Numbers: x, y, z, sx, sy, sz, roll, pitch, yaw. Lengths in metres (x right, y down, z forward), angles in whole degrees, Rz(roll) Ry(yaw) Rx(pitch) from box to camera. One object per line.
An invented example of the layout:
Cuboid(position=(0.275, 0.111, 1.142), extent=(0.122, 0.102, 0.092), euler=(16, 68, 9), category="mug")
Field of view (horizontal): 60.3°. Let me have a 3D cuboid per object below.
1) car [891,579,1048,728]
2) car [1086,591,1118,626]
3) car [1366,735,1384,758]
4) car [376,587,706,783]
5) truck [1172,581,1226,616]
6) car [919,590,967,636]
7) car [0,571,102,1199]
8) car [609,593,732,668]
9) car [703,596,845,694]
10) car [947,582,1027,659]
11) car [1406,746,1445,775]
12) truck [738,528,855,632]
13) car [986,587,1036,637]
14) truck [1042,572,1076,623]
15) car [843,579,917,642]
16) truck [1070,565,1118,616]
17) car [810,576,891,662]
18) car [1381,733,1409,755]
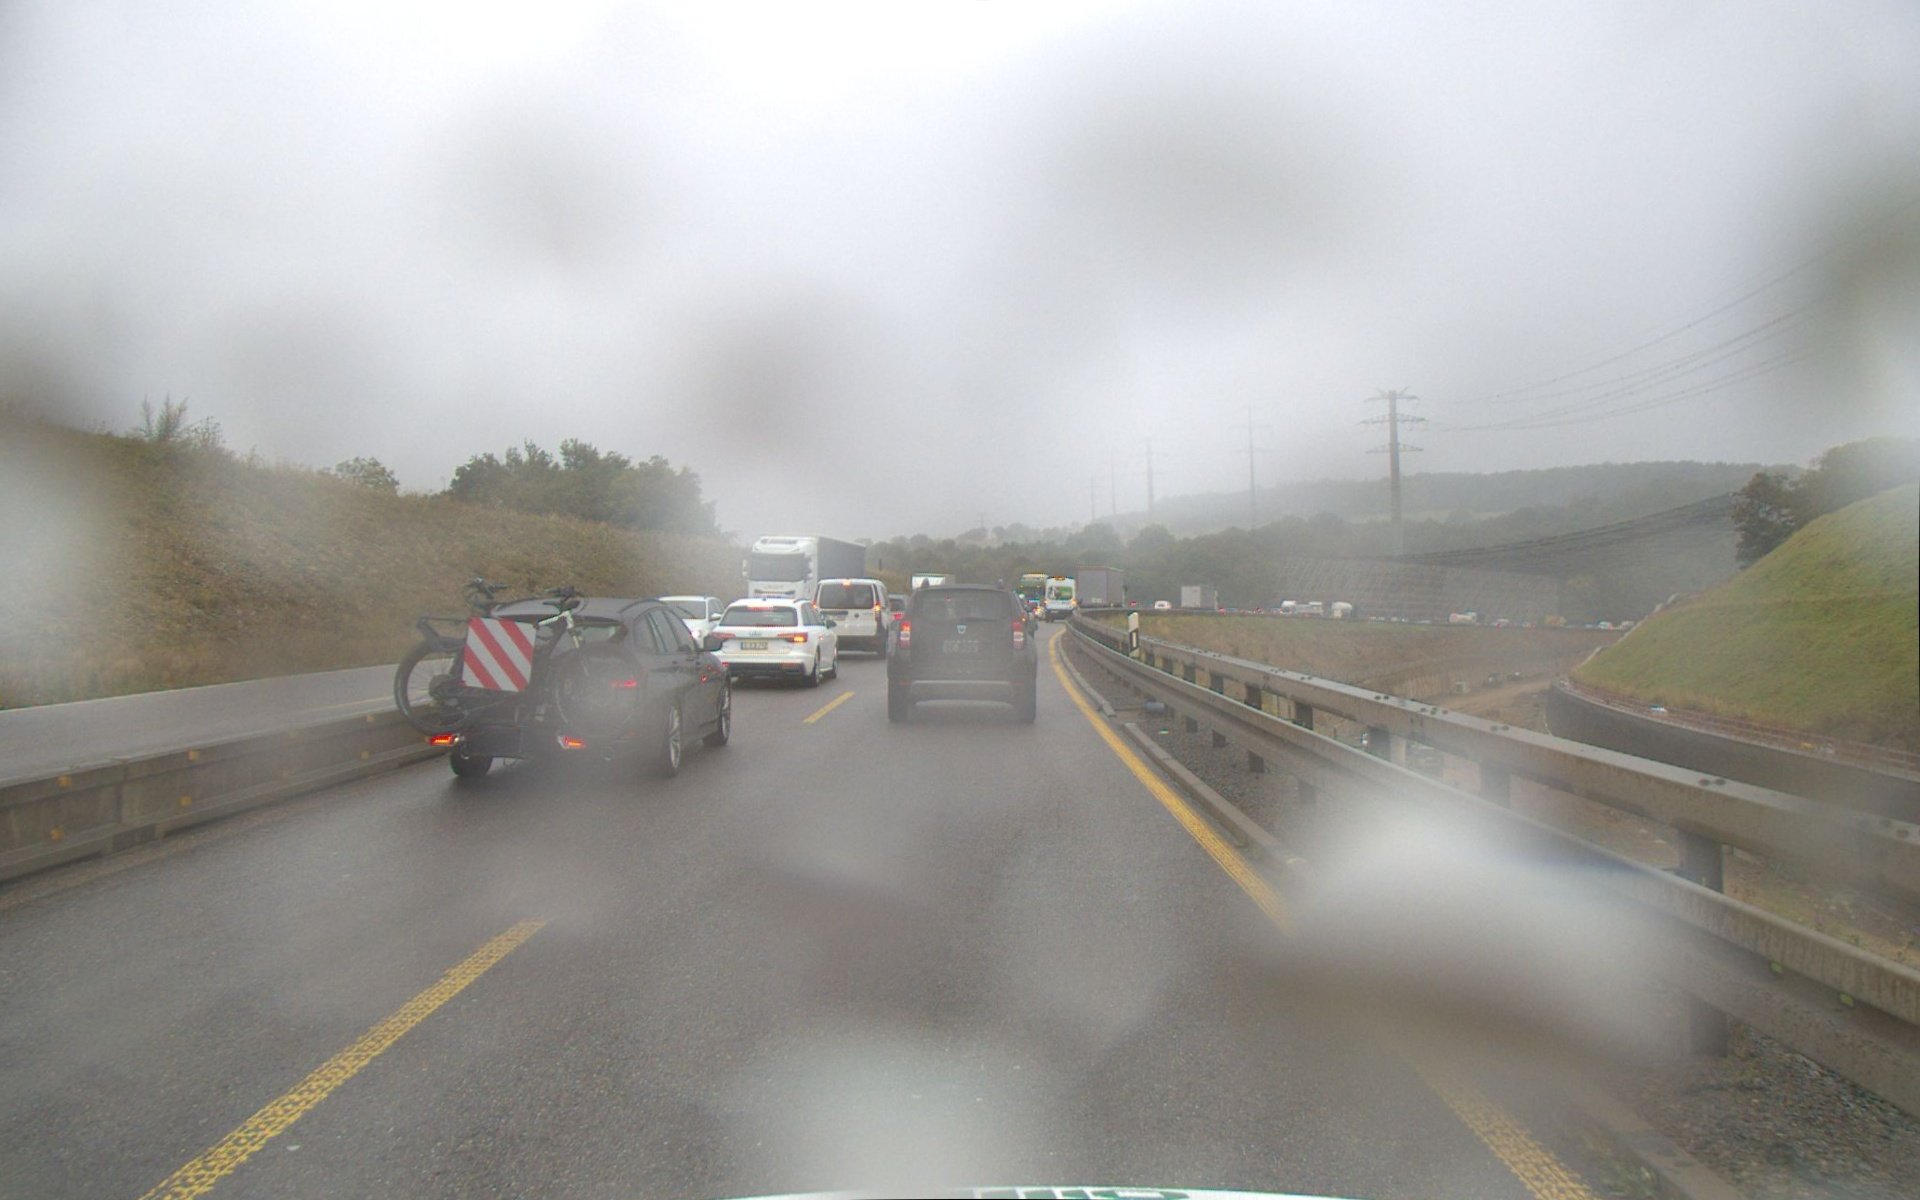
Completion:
Cuboid(position=(0.151, 0.597, 20.519), extent=(1.767, 1.674, 3.777), euler=(0, 0, 1), category="car")
Cuboid(position=(8.186, 0.459, 95.635), extent=(1.737, 1.949, 4.002), euler=(1, 0, 4), category="car")
Cuboid(position=(46.013, 16.244, 183.391), extent=(1.951, 2.049, 4.003), euler=(1, 0, 14), category="car")
Cuboid(position=(-3.527, 0.651, 14.641), extent=(1.790, 1.502, 3.778), euler=(0, 0, 3), category="car")
Cuboid(position=(31.401, -0.167, 216.271), extent=(4.618, 4.222, 15.691), euler=(1, 0, 17), category="truck")
Cuboid(position=(-0.652, 0.499, 64.956), extent=(1.829, 1.738, 4.091), euler=(0, -1, 0), category="car")
Cuboid(position=(-2.846, 0.731, 1.861), extent=(1.582, 1.532, 4.366), euler=(-1, 0, -2), category="car")
Cuboid(position=(-6.207, 0.612, 35.986), extent=(1.829, 1.486, 4.548), euler=(1, 0, 0), category="car")
Cuboid(position=(-3.042, 0.692, 27.923), extent=(1.829, 1.486, 4.548), euler=(1, 0, 0), category="car")
Cuboid(position=(0.634, 0.464, 40.279), extent=(1.829, 1.738, 4.000), euler=(1, 0, 0), category="car")
Cuboid(position=(40.510, 13.990, 144.057), extent=(2.316, 2.049, 4.001), euler=(1, 0, 1), category="car")
Cuboid(position=(-7.124, -0.846, 74.746), extent=(2.871, 4.169, 14.397), euler=(1, 0, 4), category="truck")
Cuboid(position=(1.808, 0.394, 58.067), extent=(1.498, 1.669, 4.015), euler=(1, 0, 5), category="car")
Cuboid(position=(6.486, -0.166, 108.289), extent=(2.104, 3.221, 6.462), euler=(1, 0, 4), category="truck")
Cuboid(position=(-2.286, 0.287, 48.324), extent=(1.829, 1.738, 4.092), euler=(1, 0, 1), category="car")
Cuboid(position=(10.760, -0.731, 131.743), extent=(3.132, 3.827, 8.516), euler=(1, 0, 9), category="truck")
Cuboid(position=(-2.561, 0.425, 39.514), extent=(1.626, 1.912, 4.020), euler=(1, 0, 0), category="car")
Cuboid(position=(42.457, 14.053, 161.522), extent=(1.952, 1.847, 4.002), euler=(0, 0, 3), category="car")
